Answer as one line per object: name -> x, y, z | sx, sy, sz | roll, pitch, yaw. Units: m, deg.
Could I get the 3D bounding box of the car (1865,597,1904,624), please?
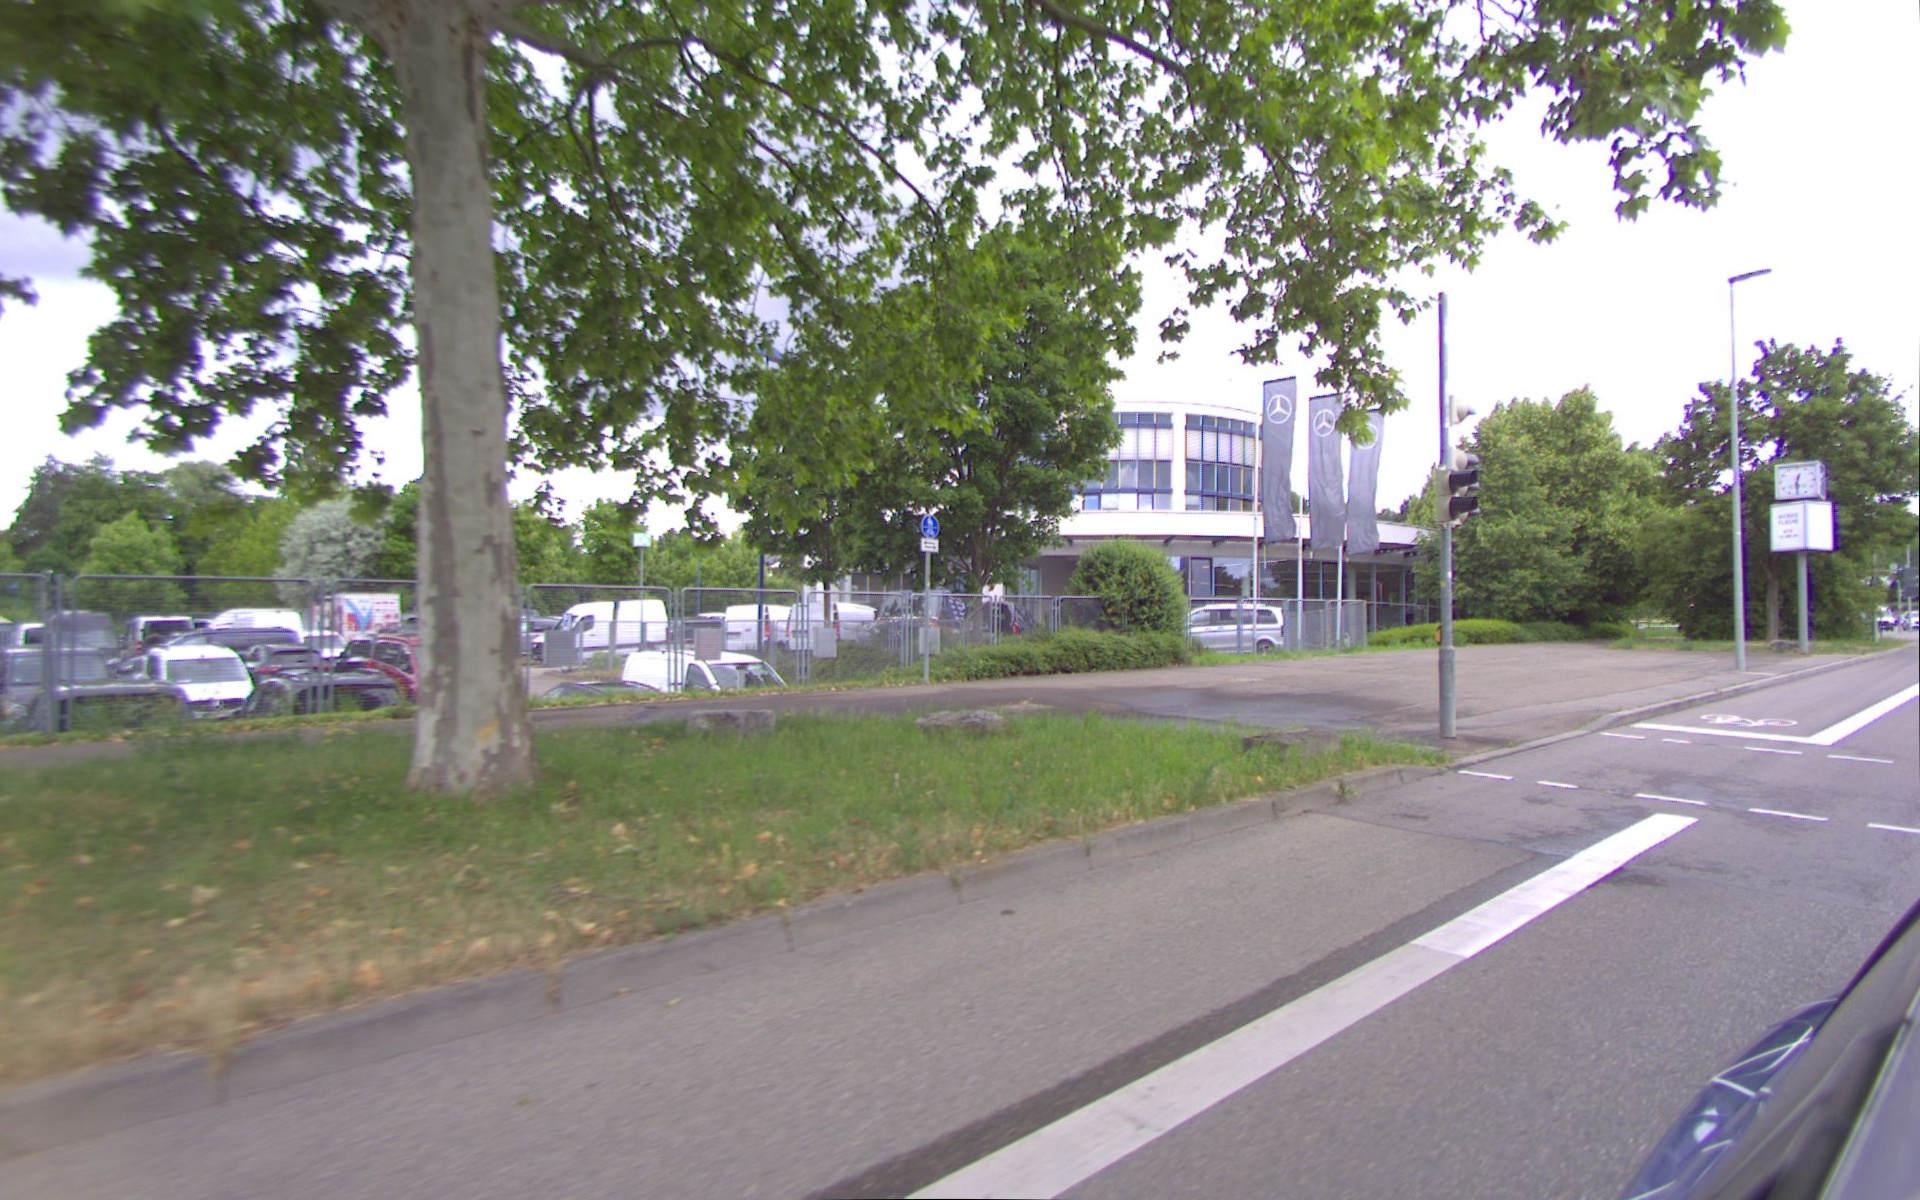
car -> 95.595, 1.140, 104.693 | 2.214, 2.693, 5.882 | -3, -3, 36

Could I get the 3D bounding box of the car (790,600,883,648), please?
car -> -3.712, 0.706, 31.042 | 1.603, 1.367, 3.578 | -1, -1, 15

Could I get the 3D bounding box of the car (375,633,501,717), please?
car -> -13.479, 1.840, 26.040 | 1.965, 1.906, 3.992 | 0, -1, -41

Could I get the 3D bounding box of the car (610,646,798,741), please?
car -> -5.351, 1.829, 20.912 | 3.986, 1.639, 1.969 | -1, -1, 44

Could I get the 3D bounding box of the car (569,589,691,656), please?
car -> -14.050, 0.933, 43.298 | 1.992, 2.356, 4.360 | -12, -5, 43

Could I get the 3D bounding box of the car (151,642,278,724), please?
car -> -16.958, 1.789, 22.948 | 1.965, 1.572, 3.992 | 0, -1, -41

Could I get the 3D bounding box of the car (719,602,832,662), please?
car -> -5.818, 0.982, 32.181 | 1.613, 1.779, 3.556 | -1, -1, 31

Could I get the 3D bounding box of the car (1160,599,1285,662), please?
car -> 8.950, 1.033, 34.762 | 3.934, 2.051, 1.994 | 0, -1, 9

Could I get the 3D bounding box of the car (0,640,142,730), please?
car -> -18.431, 1.650, 20.851 | 3.986, 1.572, 1.969 | -1, -1, 44

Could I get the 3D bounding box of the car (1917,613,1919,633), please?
car -> 98.710, 2.298, 102.653 | 2.113, 2.017, 4.907 | -5, -4, 44
